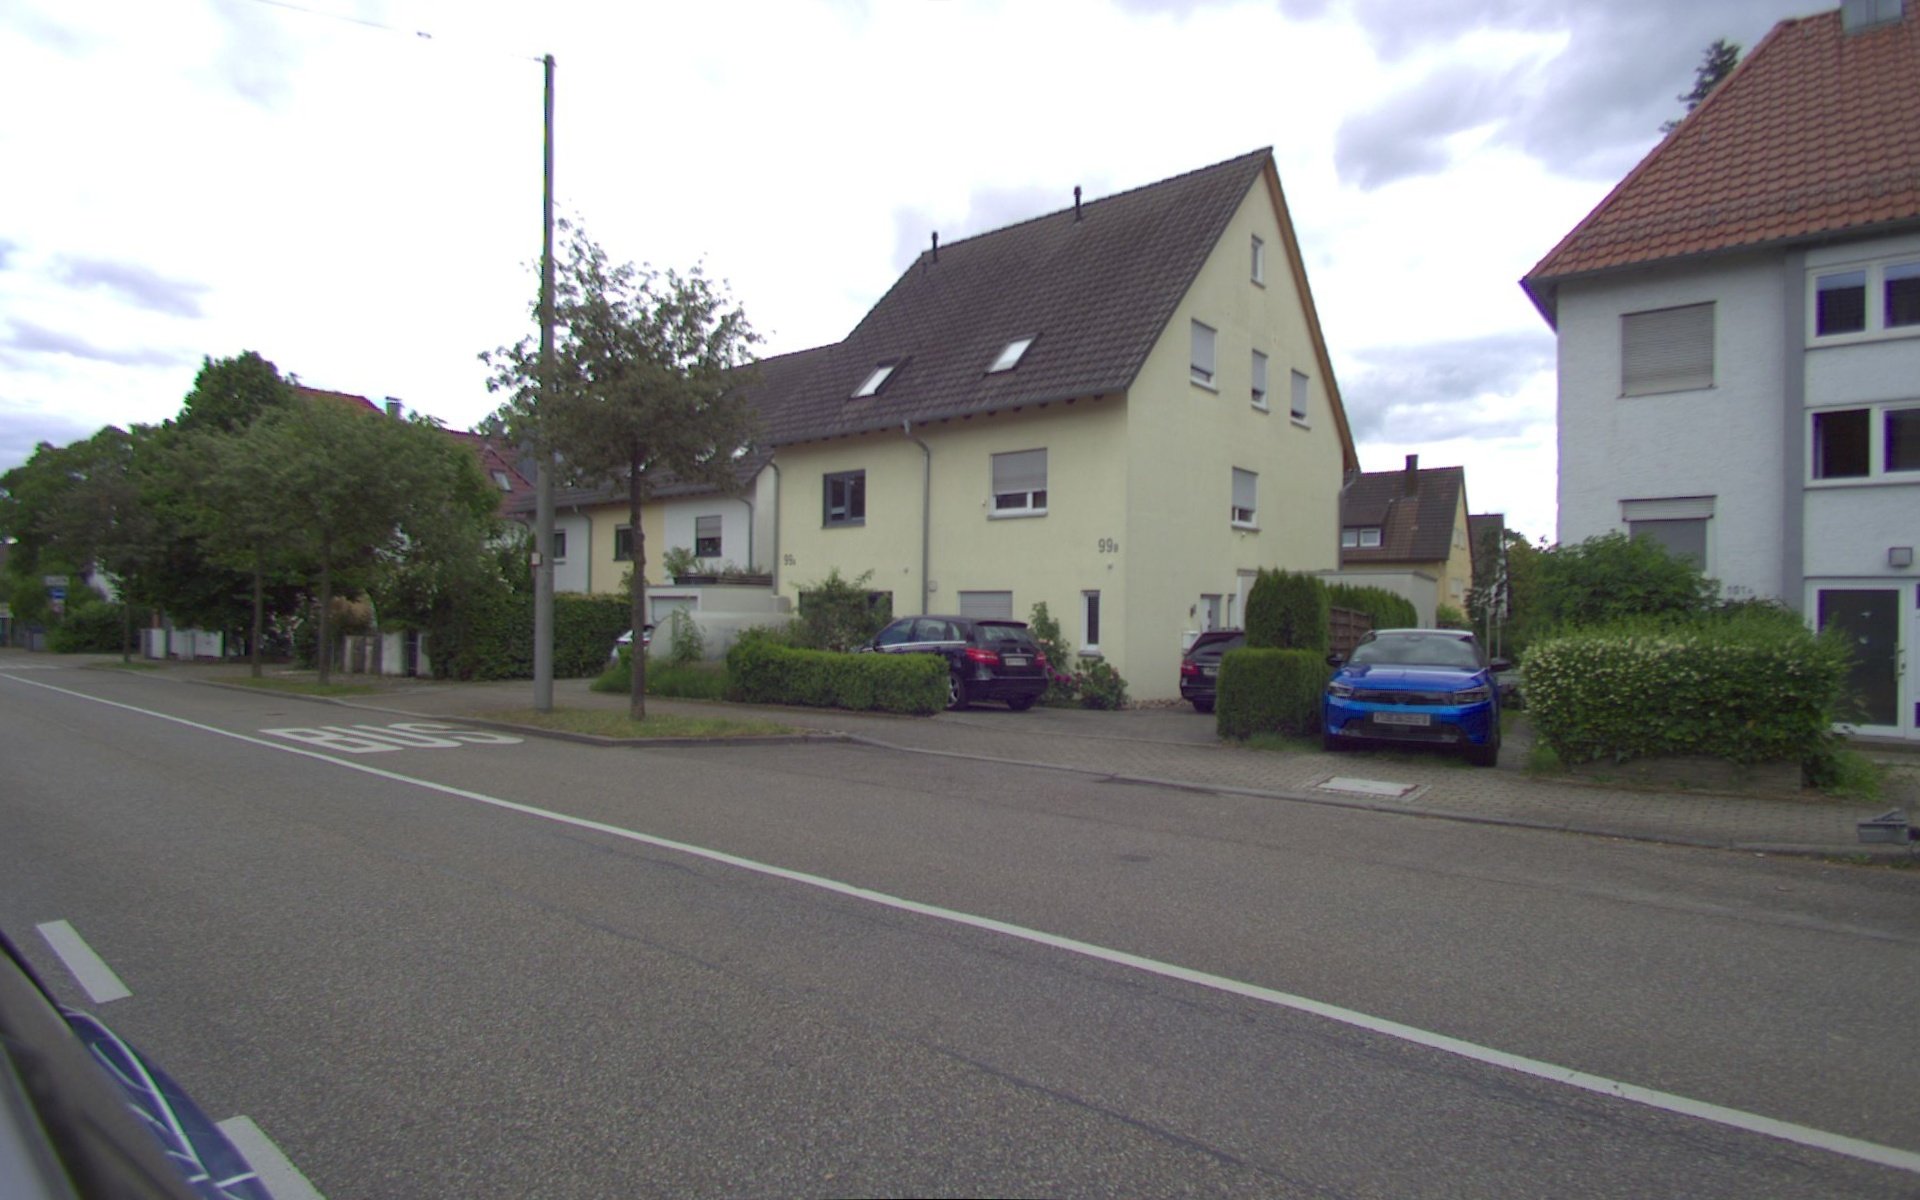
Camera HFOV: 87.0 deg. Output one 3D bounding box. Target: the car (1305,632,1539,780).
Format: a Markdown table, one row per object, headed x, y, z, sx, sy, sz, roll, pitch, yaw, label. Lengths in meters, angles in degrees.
| x | y | z | sx | sy | sz | roll | pitch | yaw | label |
| --- | --- | --- | --- | --- | --- | --- | --- | --- | --- |
| 5.458 | 1.062 | 11.674 | 1.725 | 1.381 | 3.951 | -1 | -2 | 36 | car |

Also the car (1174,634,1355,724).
| x | y | z | sx | sy | sz | roll | pitch | yaw | label |
| --- | --- | --- | --- | --- | --- | --- | --- | --- | --- |
| 5.377 | 1.325 | 17.586 | 1.792 | 1.367 | 3.915 | -1 | -4 | 37 | car |

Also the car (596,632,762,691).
| x | y | z | sx | sy | sz | roll | pitch | yaw | label |
| --- | --- | --- | --- | --- | --- | --- | --- | --- | --- |
| -6.643 | 1.405 | 24.172 | 1.701 | 1.280 | 3.517 | -1 | -2 | 38 | car |

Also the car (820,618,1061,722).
| x | y | z | sx | sy | sz | roll | pitch | yaw | label |
| --- | --- | --- | --- | --- | --- | --- | --- | --- | --- |
| -0.400 | 1.118 | 16.944 | 3.915 | 1.533 | 1.729 | -2 | -4 | 42 | car |
